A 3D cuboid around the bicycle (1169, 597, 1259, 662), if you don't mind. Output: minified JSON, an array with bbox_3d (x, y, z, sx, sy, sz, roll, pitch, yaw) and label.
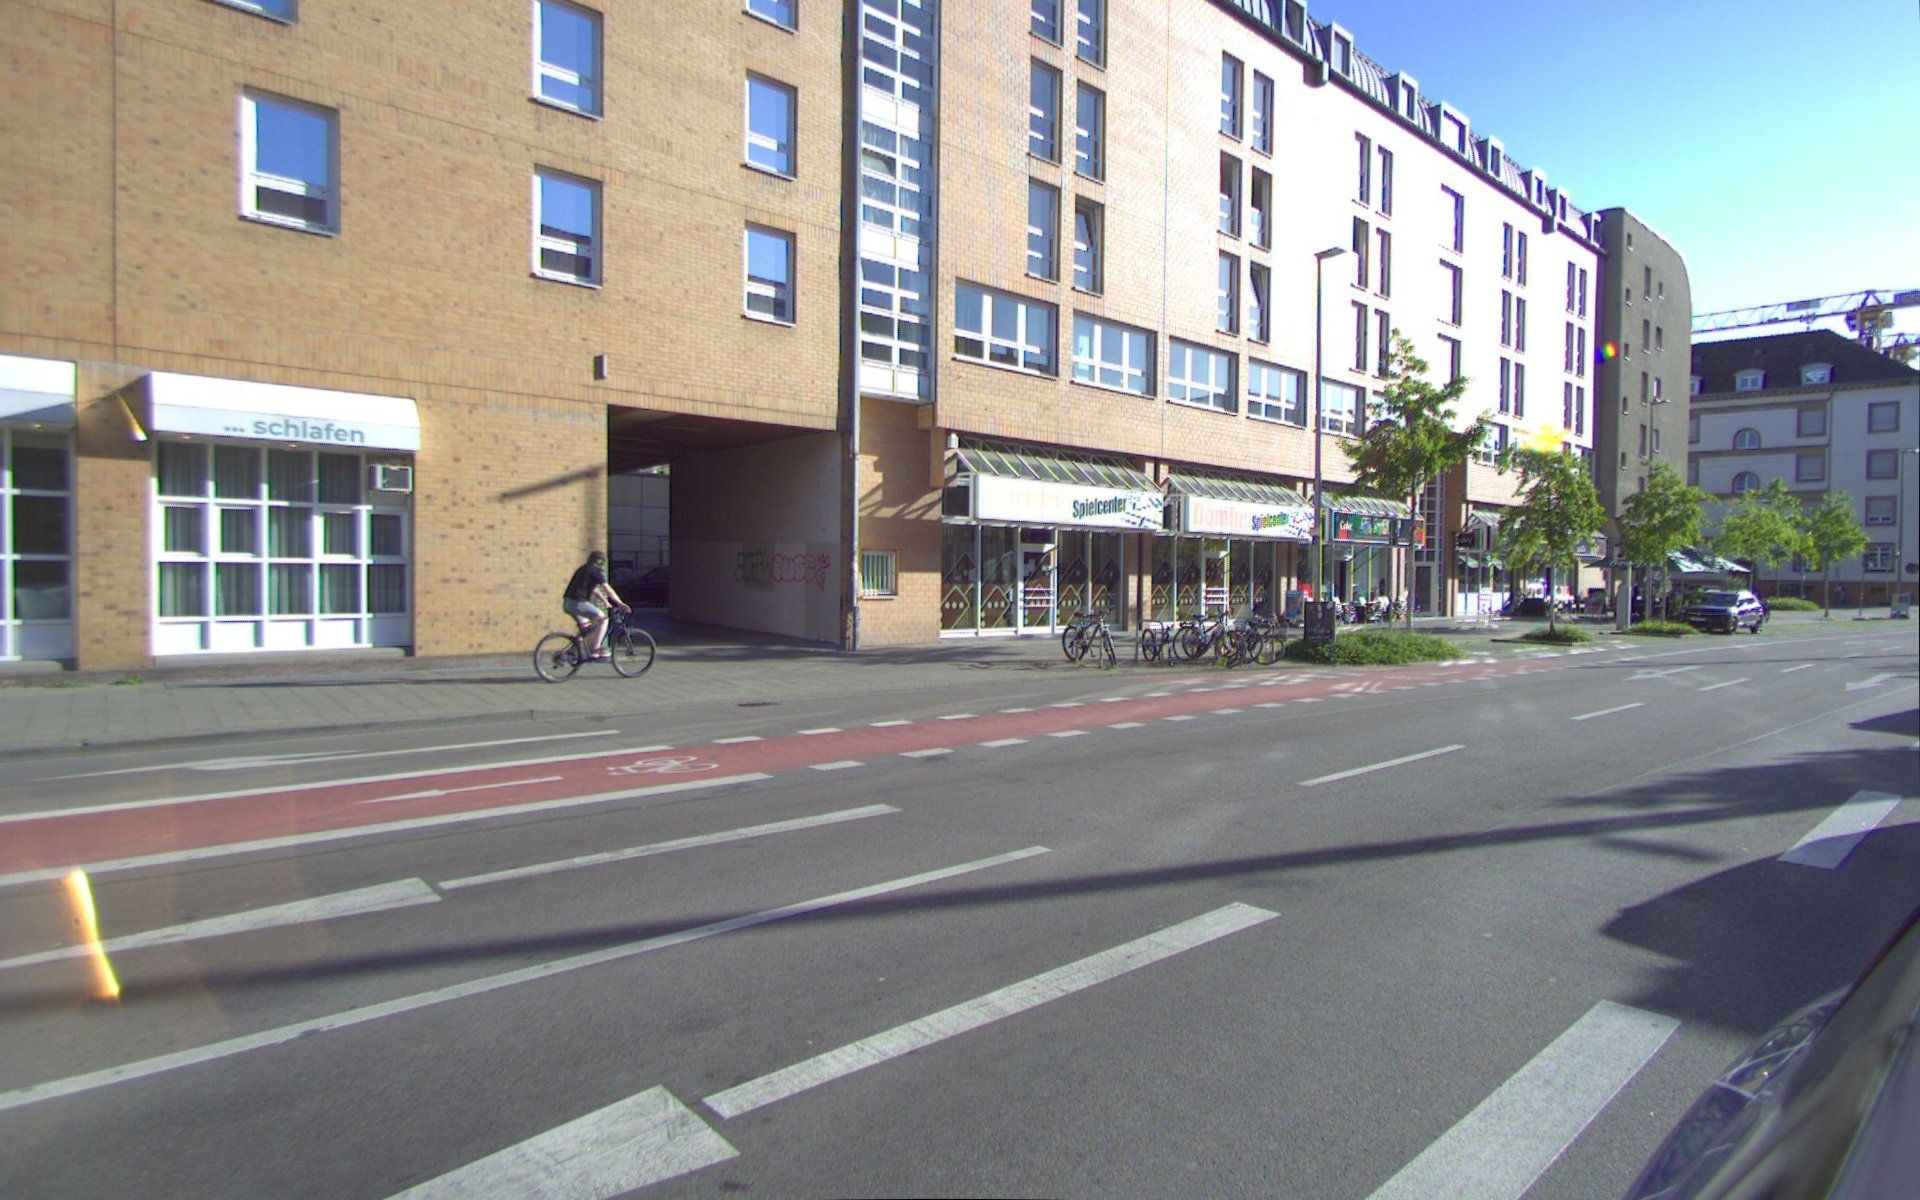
[{"bbox_3d":[5.038,0.561,20.179,0.543,1.155,1.775,-2,4,-37],"label":"bicycle"}]

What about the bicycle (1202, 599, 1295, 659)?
[{"bbox_3d":[6.008,0.577,21.129,0.724,1.084,1.775,-2,4,-38],"label":"bicycle"}]

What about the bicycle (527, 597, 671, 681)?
[{"bbox_3d":[-5.172,0.525,14.568,1.850,1.062,0.601,-1,6,-44],"label":"bicycle"}]

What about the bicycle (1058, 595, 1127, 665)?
[{"bbox_3d":[2.508,0.538,19.308,0.541,1.162,1.780,-1,3,-20],"label":"bicycle"}]

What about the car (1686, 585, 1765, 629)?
[{"bbox_3d":[29.018,0.243,38.338,3.628,1.549,1.654,-1,1,-40],"label":"car"}]

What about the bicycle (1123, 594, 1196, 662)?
[{"bbox_3d":[3.874,0.514,19.781,0.541,1.162,1.780,-1,3,-20],"label":"bicycle"}]

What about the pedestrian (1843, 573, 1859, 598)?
[{"bbox_3d":[60.909,-0.982,69.161,0.801,1.687,0.878,2,1,43],"label":"pedestrian"}]

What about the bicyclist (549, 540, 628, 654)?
[{"bbox_3d":[-5.283,-0.049,14.404,0.579,1.533,0.836,7,5,44],"label":"bicyclist"}]
